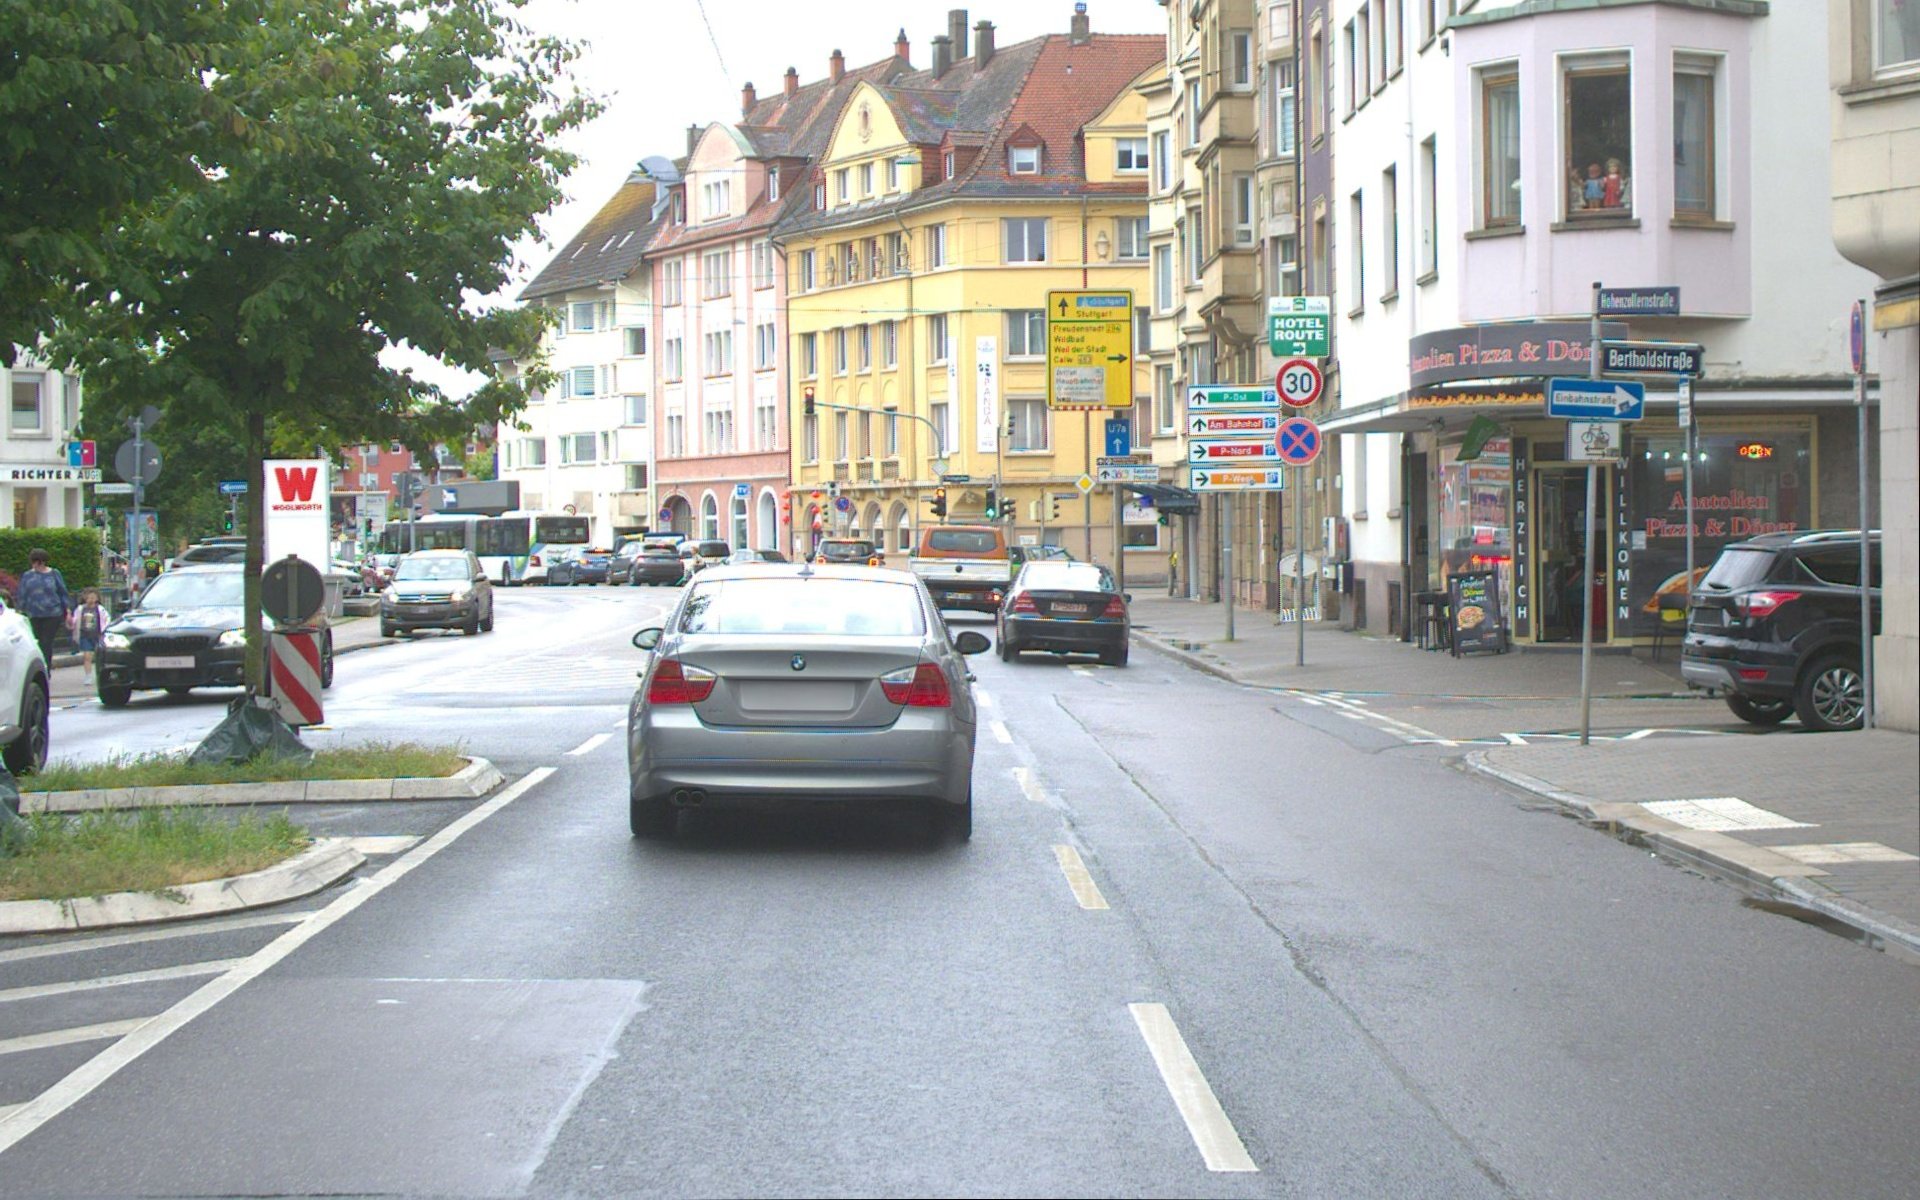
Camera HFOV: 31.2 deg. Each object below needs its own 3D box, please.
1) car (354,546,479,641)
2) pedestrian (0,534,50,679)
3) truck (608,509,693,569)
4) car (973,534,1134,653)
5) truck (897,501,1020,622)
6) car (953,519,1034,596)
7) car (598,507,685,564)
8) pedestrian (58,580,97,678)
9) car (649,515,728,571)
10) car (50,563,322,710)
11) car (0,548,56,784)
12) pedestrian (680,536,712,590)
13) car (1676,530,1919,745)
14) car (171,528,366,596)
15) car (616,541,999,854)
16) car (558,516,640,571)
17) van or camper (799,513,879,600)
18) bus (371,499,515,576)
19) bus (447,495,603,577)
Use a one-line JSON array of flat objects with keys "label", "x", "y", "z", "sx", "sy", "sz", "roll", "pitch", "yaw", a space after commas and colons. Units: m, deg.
[{"label": "car", "x": -10.522, "y": -0.153, "z": 66.341, "sx": 1.948, "sy": 1.653, "sz": 4.058, "roll": -3, "pitch": 2, "yaw": -14}, {"label": "pedestrian", "x": -11.465, "y": 0.073, "z": 42.033, "sx": 0.574, "sy": 1.756, "sz": 0.581, "roll": 0, "pitch": 1, "yaw": -7}, {"label": "truck", "x": -12.729, "y": -2.519, "z": 141.153, "sx": 2.026, "sy": 2.381, "sz": 4.238, "roll": 0, "pitch": 2, "yaw": -26}, {"label": "car", "x": 1.245, "y": -0.093, "z": 47.291, "sx": 1.799, "sy": 1.558, "sz": 4.001, "roll": 0, "pitch": 0, "yaw": -4}, {"label": "truck", "x": -0.072, "y": -0.771, "z": 66.865, "sx": 2.224, "sy": 2.242, "sz": 5.063, "roll": 0, "pitch": 1, "yaw": -2}, {"label": "car", "x": 0.875, "y": -1.136, "z": 91.769, "sx": 1.993, "sy": 2.007, "sz": 4.000, "roll": 0, "pitch": 1, "yaw": -2}, {"label": "car", "x": -11.337, "y": -2.292, "z": 122.321, "sx": 1.993, "sy": 2.007, "sz": 4.001, "roll": -1, "pitch": 1, "yaw": -22}, {"label": "pedestrian", "x": -10.869, "y": 0.352, "z": 42.342, "sx": 0.409, "sy": 1.194, "sz": 0.311, "roll": 0, "pitch": 1, "yaw": -7}, {"label": "car", "x": -10.774, "y": -2.267, "z": 136.196, "sx": 1.761, "sy": 2.172, "sz": 4.001, "roll": 0, "pitch": 1, "yaw": -26}, {"label": "car", "x": -8.323, "y": 0.348, "z": 37.379, "sx": 2.013, "sy": 1.421, "sz": 4.500, "roll": 1, "pitch": 1, "yaw": -1}, {"label": "car", "x": -7.299, "y": 0.476, "z": 22.452, "sx": 1.819, "sy": 1.563, "sz": 4.090, "roll": -2, "pitch": 1, "yaw": -2}, {"label": "pedestrian", "x": -7.614, "y": -1.071, "z": 99.225, "sx": 0.760, "sy": 1.524, "sz": 0.508, "roll": 1, "pitch": 0, "yaw": -21}, {"label": "car", "x": 8.306, "y": 0.293, "z": 29.211, "sx": 4.138, "sy": 1.766, "sz": 1.873, "roll": 0, "pitch": 1, "yaw": 4}, {"label": "car", "x": -16.666, "y": -0.921, "z": 83.006, "sx": 4.444, "sy": 1.521, "sz": 1.886, "roll": 1, "pitch": 1, "yaw": -6}, {"label": "car", "x": -0.816, "y": 0.459, "z": 18.612, "sx": 1.799, "sy": 1.459, "sz": 4.371, "roll": 1, "pitch": 0, "yaw": -2}, {"label": "car", "x": -13.452, "y": -2.101, "z": 127.981, "sx": 1.993, "sy": 2.007, "sz": 4.001, "roll": -1, "pitch": 1, "yaw": -22}, {"label": "van or camper", "x": -3.100, "y": -1.123, "z": 87.356, "sx": 1.854, "sy": 2.139, "sz": 4.143, "roll": 1, "pitch": 1, "yaw": -4}, {"label": "bus", "x": -21.669, "y": -2.610, "z": 143.623, "sx": 2.908, "sy": 3.094, "sz": 8.872, "roll": -1, "pitch": 1, "yaw": -30}, {"label": "bus", "x": -17.244, "y": -2.535, "z": 135.734, "sx": 2.908, "sy": 3.094, "sz": 9.144, "roll": -1, "pitch": 1, "yaw": -29}]
